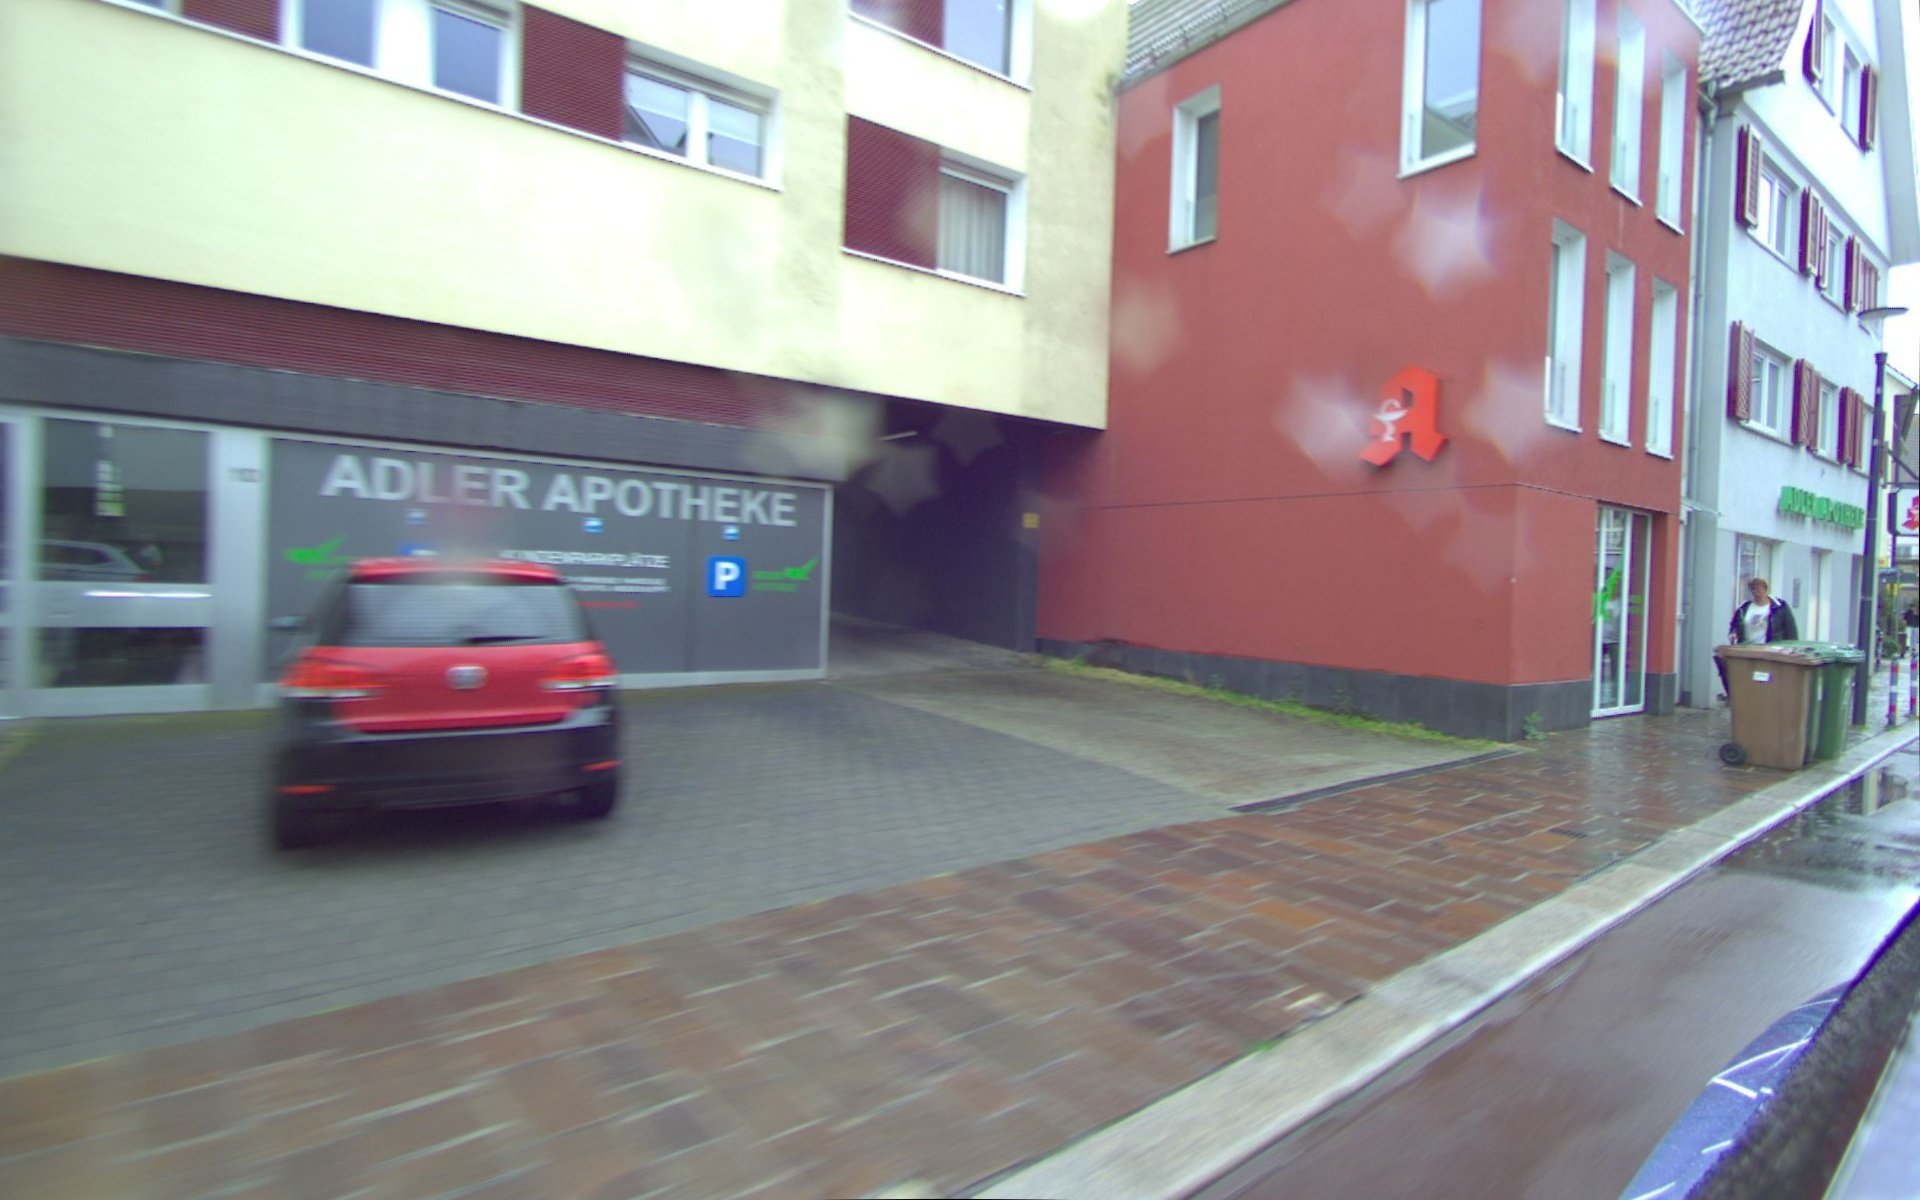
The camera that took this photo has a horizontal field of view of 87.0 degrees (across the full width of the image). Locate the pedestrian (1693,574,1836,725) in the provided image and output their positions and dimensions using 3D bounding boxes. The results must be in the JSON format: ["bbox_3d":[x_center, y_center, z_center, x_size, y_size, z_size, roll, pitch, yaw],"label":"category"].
[{"bbox_3d":[10.032,0.565,12.625,1.158,1.718,1.179,1,2,-43],"label":"pedestrian"}]

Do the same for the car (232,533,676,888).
[{"bbox_3d":[-3.293,0.372,6.561,1.873,1.533,4.006,1,3,-30],"label":"car"}]

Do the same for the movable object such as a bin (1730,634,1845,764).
[{"bbox_3d":[7.756,0.899,9.488,0.603,1.108,0.712,0,1,-39],"label":"movable object such as a bin"}]

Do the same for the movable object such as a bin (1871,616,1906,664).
[{"bbox_3d":[21.625,0.923,23.569,0.539,1.069,0.502,-1,4,-41],"label":"movable object such as a bin"}]

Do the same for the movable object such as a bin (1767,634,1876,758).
[{"bbox_3d":[8.374,0.907,9.841,0.685,1.097,0.678,0,1,-39],"label":"movable object such as a bin"}]

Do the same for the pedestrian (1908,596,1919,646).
[{"bbox_3d":[38.104,0.853,39.980,0.648,1.926,0.654,4,3,23],"label":"pedestrian"}]

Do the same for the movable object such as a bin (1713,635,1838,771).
[{"bbox_3d":[7.281,0.892,9.042,0.635,1.094,0.731,0,1,-39],"label":"movable object such as a bin"}]

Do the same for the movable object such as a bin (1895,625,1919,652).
[{"bbox_3d":[32.217,1.315,34.407,0.546,0.846,0.895,5,3,44],"label":"movable object such as a bin"}]

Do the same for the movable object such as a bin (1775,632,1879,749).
[{"bbox_3d":[8.891,0.899,10.381,0.705,1.100,0.678,0,1,-39],"label":"movable object such as a bin"}]
